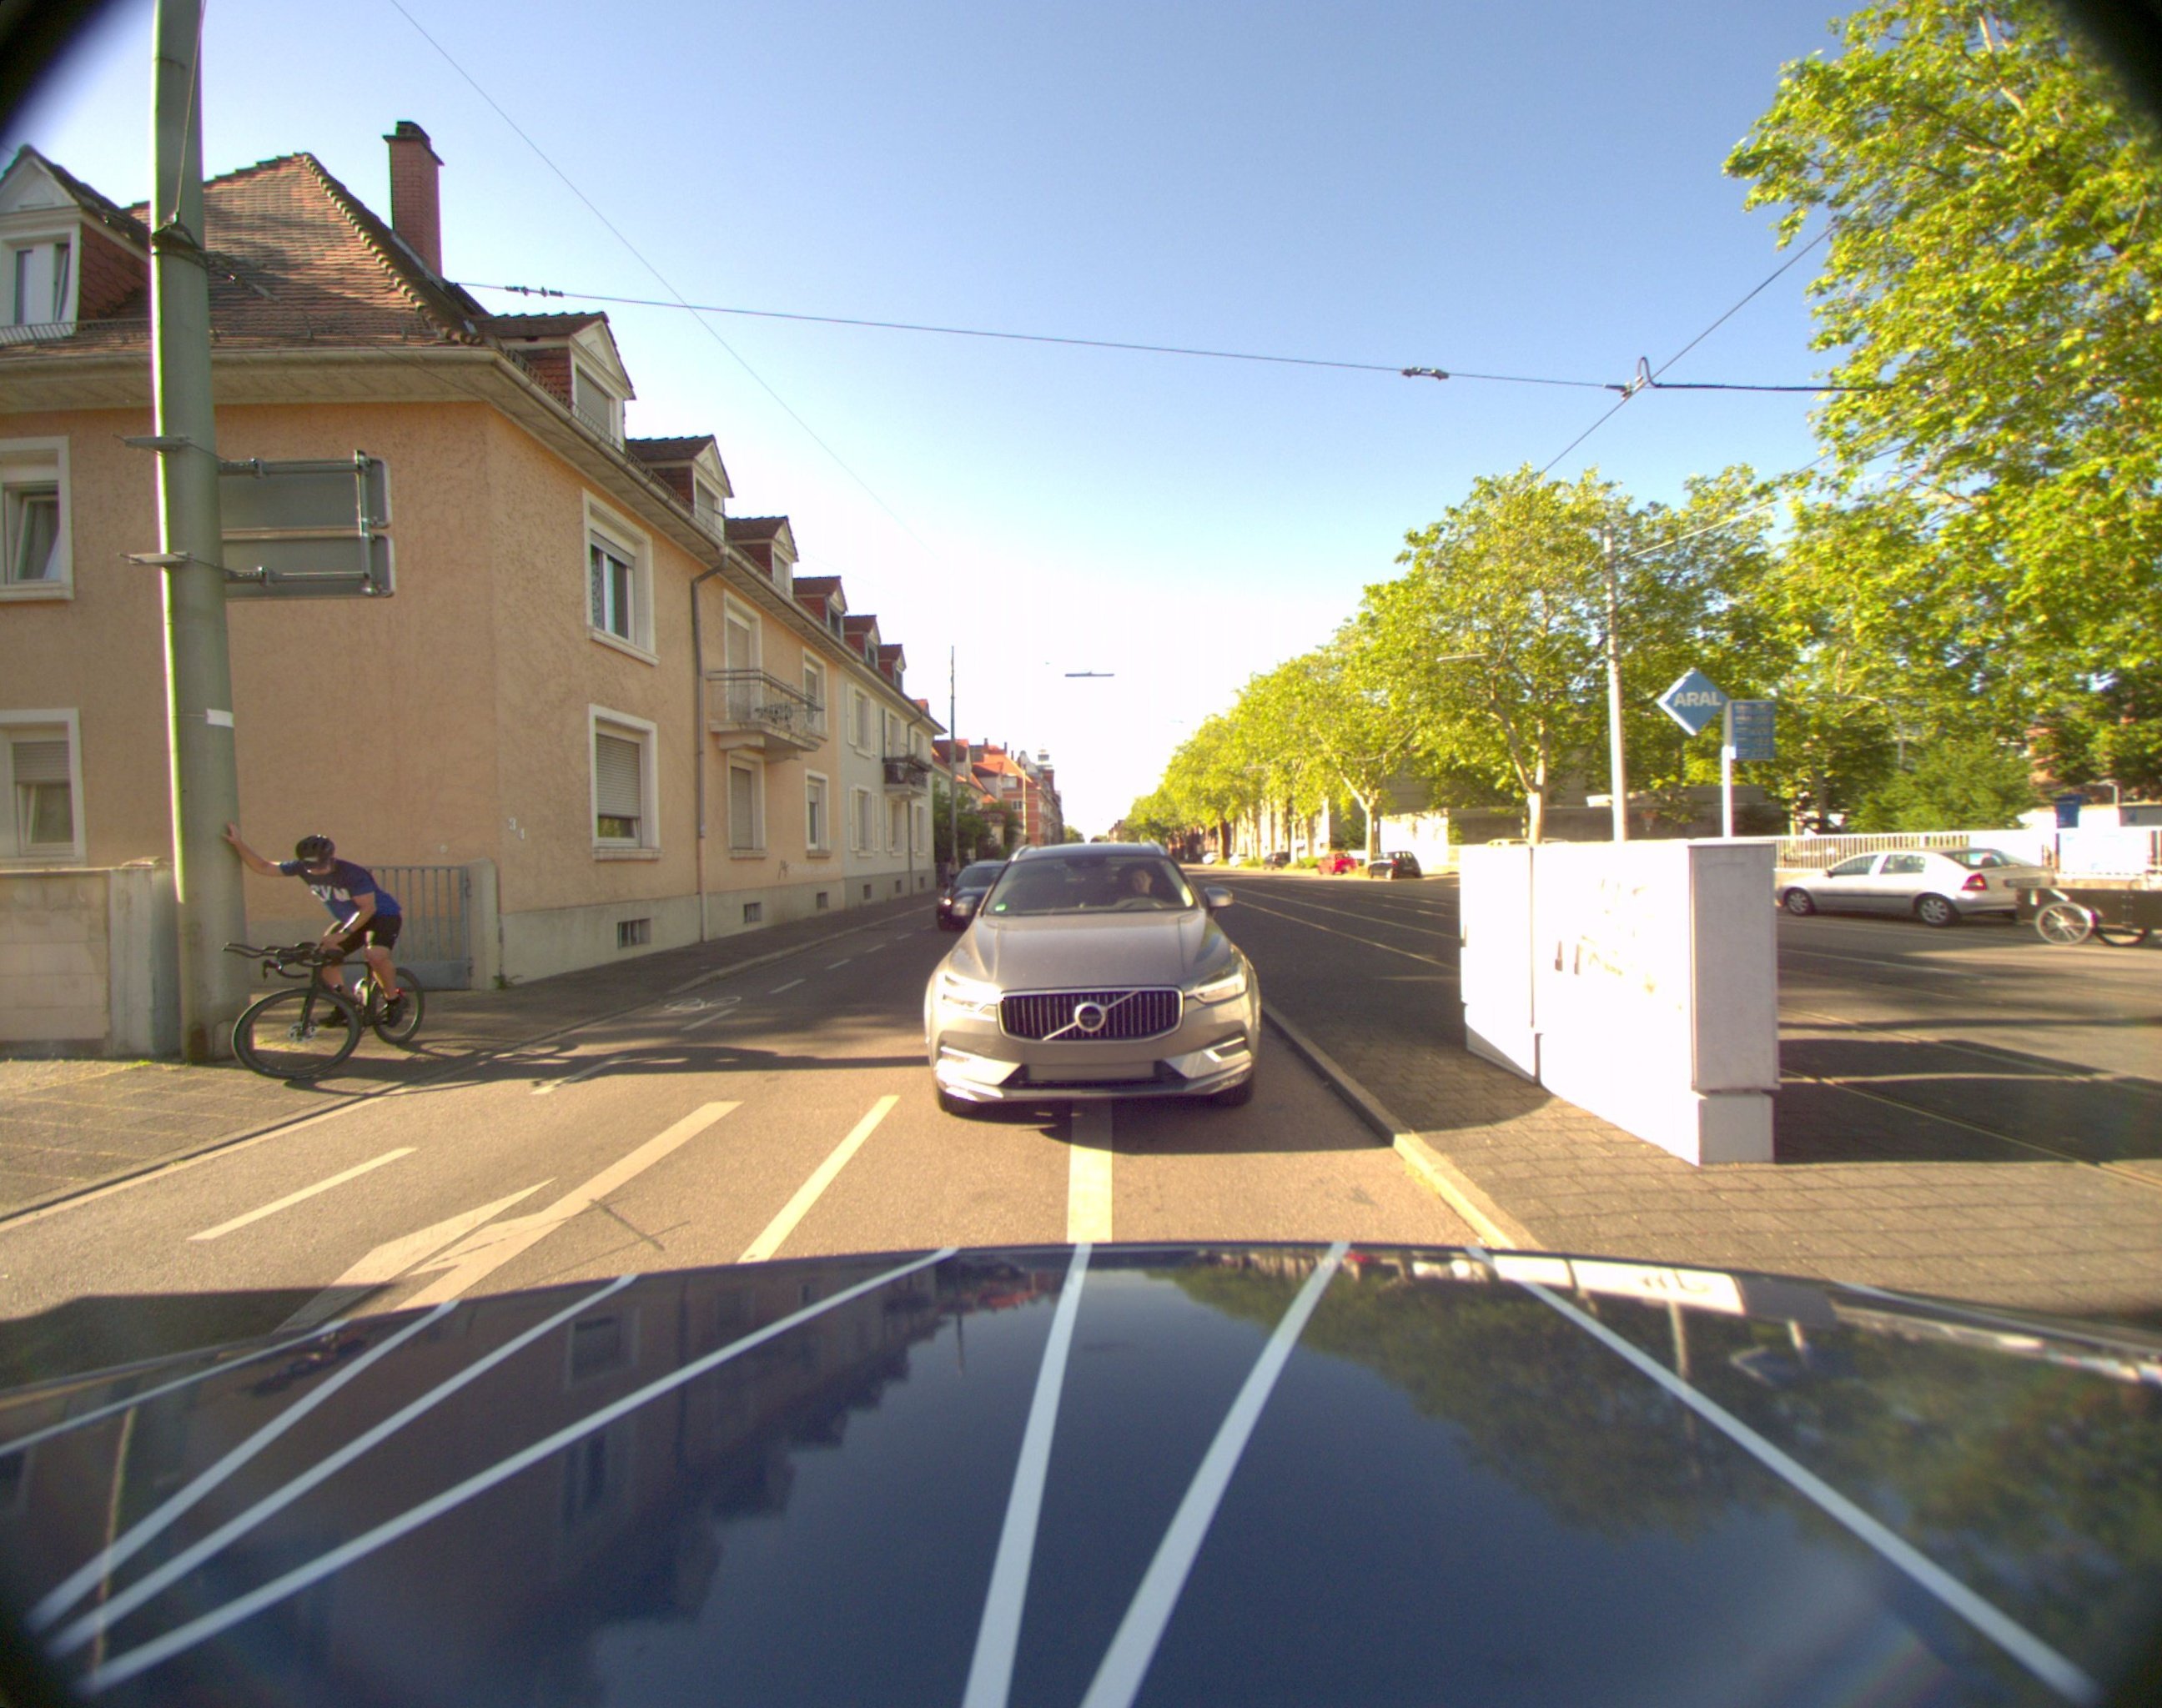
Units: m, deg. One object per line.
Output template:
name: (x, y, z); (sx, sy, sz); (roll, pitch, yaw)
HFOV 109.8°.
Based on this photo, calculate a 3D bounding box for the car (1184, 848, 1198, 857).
car: (18.194, -0.222, 125.624); (1.802, 1.504, 4.000); (-1, 0, 1)

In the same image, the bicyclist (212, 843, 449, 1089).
bicyclist: (-6.145, 0.863, 6.285); (1.076, 1.854, 0.846); (2, 1, 1)

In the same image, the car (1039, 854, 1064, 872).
car: (-2.561, 0.767, 66.823); (1.875, 1.477, 4.000); (-1, 0, 1)

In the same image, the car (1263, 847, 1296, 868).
car: (17.196, 0.285, 66.036); (1.802, 1.652, 4.000); (-1, 0, 1)

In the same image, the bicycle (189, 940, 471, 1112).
bicycle: (-5.940, 1.303, 6.170); (0.572, 0.986, 1.698); (2, 0, 1)

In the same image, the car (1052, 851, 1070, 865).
car: (-2.204, 0.450, 85.485); (1.875, 1.477, 4.000); (-1, 0, 1)

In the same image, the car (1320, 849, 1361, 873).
car: (16.944, 0.434, 49.745); (1.641, 1.499, 3.046); (-1, 0, 1)

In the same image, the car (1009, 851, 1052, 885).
car: (-2.787, 0.716, 42.879); (1.751, 1.767, 5.351); (-1, 0, 3)

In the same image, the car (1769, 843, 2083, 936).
car: (16.248, 0.597, 14.986); (1.795, 1.455, 3.966); (-4, 0, 2)

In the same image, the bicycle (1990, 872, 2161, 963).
bicycle: (14.135, 0.827, 10.120); (1.059, 1.095, 2.519); (0, 0, 1)

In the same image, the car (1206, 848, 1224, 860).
car: (17.733, -0.012, 100.666); (1.802, 1.504, 4.000); (-1, 0, 1)

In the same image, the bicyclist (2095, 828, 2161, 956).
bicyclist: (14.156, 0.475, 9.742); (0.934, 1.628, 1.028); (-1, 1, 0)

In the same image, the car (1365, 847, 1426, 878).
car: (16.884, 0.421, 40.975); (1.826, 1.521, 3.653); (-2, 0, 1)

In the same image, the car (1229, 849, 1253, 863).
car: (17.546, 0.220, 83.422); (1.802, 1.489, 4.000); (-1, 0, 1)

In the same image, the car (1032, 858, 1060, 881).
car: (-2.465, 1.085, 54.434); (1.785, 1.468, 4.000); (-1, 0, 1)

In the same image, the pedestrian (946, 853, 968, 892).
pedestrian: (-5.384, 0.794, 32.956); (0.694, 1.652, 1.098); (-2, 1, 0)

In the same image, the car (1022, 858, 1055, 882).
car: (-2.682, 0.992, 48.298); (1.785, 1.346, 4.000); (-1, 0, 1)

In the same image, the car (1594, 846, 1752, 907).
car: (16.433, 0.575, 21.335); (1.692, 1.455, 3.519); (-4, 0, 2)

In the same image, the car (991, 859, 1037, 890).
car: (-3.209, 0.965, 37.020); (1.647, 1.357, 3.868); (-1, 0, 4)

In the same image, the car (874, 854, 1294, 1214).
car: (0.044, 0.852, 5.742); (1.940, 1.650, 4.321); (-1, 0, 1)

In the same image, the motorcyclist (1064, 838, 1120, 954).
motorcyclist: (0.181, 0.667, 12.737); (0.827, 1.832, 1.159); (-2, 1, 1)

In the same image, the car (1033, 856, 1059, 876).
car: (-2.750, 0.945, 60.670); (1.785, 1.468, 4.000); (-1, 0, 1)

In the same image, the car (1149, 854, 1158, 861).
car: (16.497, 0.886, 173.342); (1.802, 1.504, 4.000); (-1, 0, 1)

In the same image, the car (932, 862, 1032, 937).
car: (-2.227, 0.987, 18.155); (1.762, 1.513, 4.101); (-1, 0, 1)
